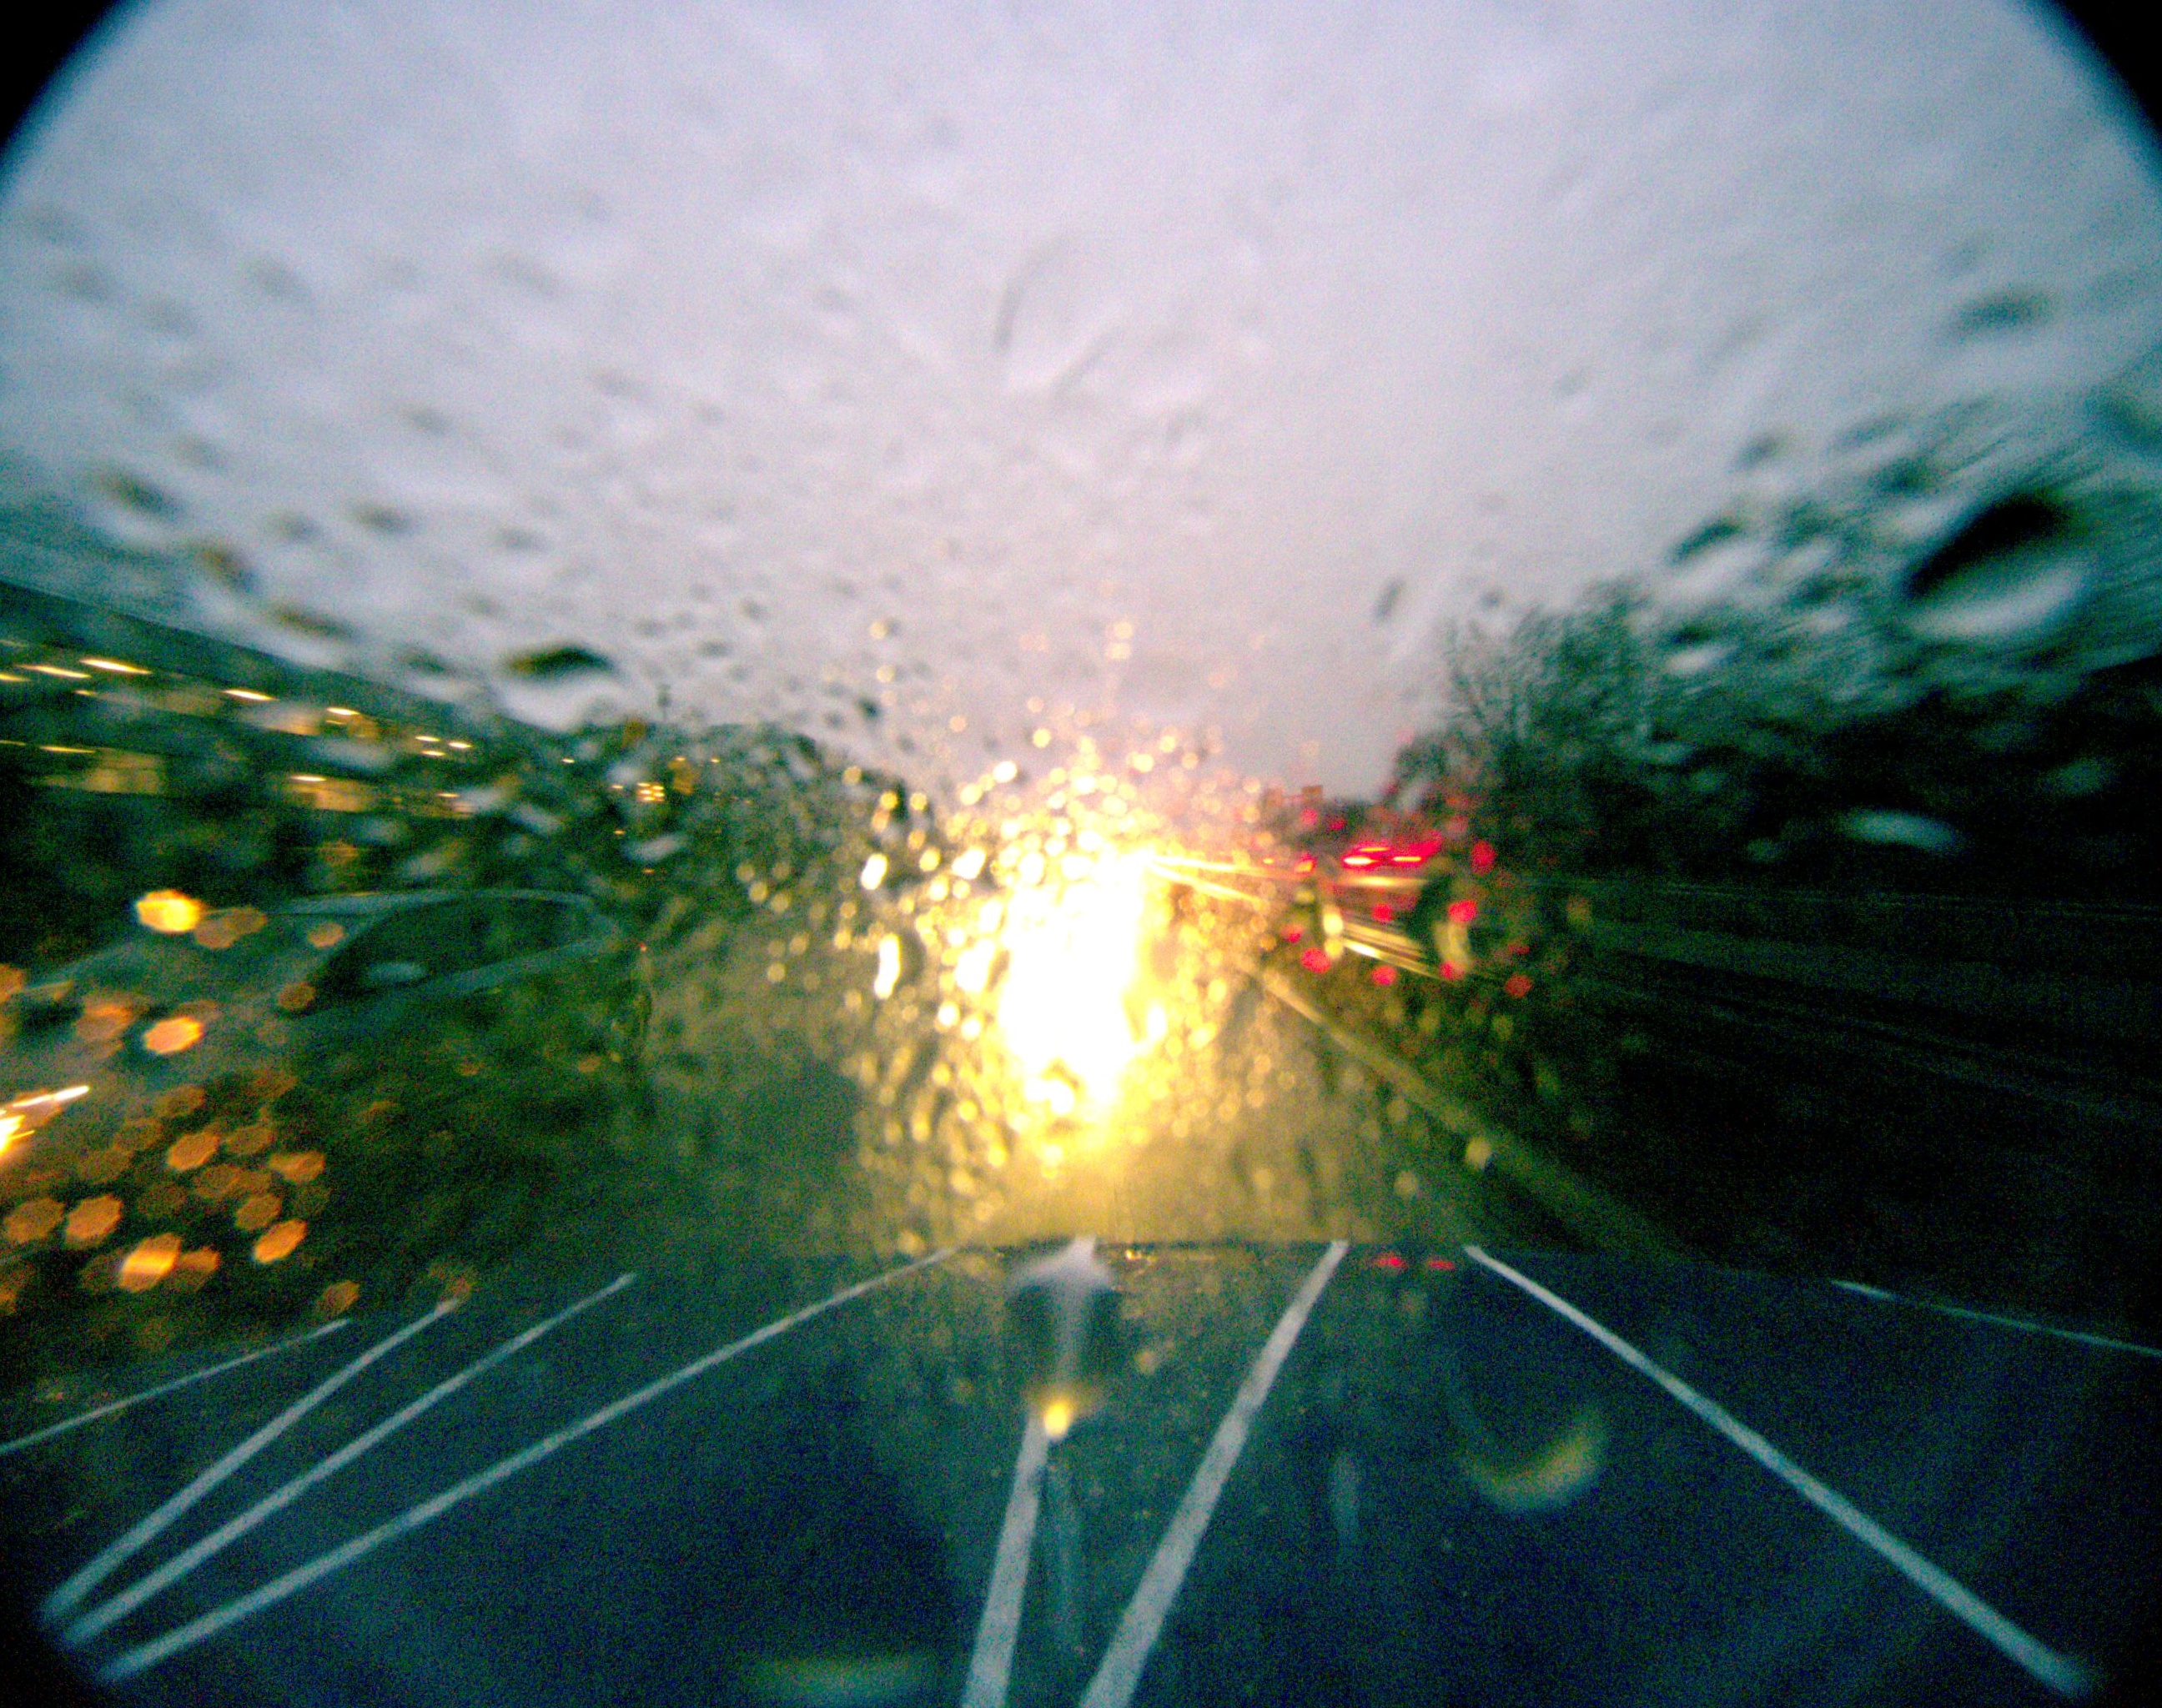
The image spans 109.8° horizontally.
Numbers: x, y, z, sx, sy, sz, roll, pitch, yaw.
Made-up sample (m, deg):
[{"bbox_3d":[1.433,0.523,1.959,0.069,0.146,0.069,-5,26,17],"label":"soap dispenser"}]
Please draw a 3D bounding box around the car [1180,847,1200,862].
[{"bbox_3d":[11.648,0.011,81.157,1.620,1.475,4.599,-3,1,3],"label":"car"}]

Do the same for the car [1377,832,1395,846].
[{"bbox_3d":[47.575,-2.364,118.381,1.995,1.902,4.452,-3,1,28],"label":"car"}]

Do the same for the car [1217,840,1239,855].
[{"bbox_3d":[16.938,-0.784,87.823,1.708,1.557,4.851,-3,1,3],"label":"car"}]

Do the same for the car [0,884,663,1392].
[{"bbox_3d":[-4.479,1.066,4.128,1.854,1.493,4.262,-3,1,2],"label":"car"}]

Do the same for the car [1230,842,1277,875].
[{"bbox_3d":[8.804,0.191,39.043,1.657,1.510,3.505,-3,1,2],"label":"car"}]

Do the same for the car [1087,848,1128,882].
[{"bbox_3d":[1.428,0.537,39.078,1.758,1.521,4.001,-3,1,6],"label":"car"}]

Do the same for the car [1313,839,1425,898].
[{"bbox_3d":[8.463,0.364,22.725,1.787,1.501,4.135,-3,1,1],"label":"car"}]

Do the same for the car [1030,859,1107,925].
[{"bbox_3d":[-0.228,0.934,20.369,1.594,1.445,4.177,-3,0,5],"label":"car"}]
